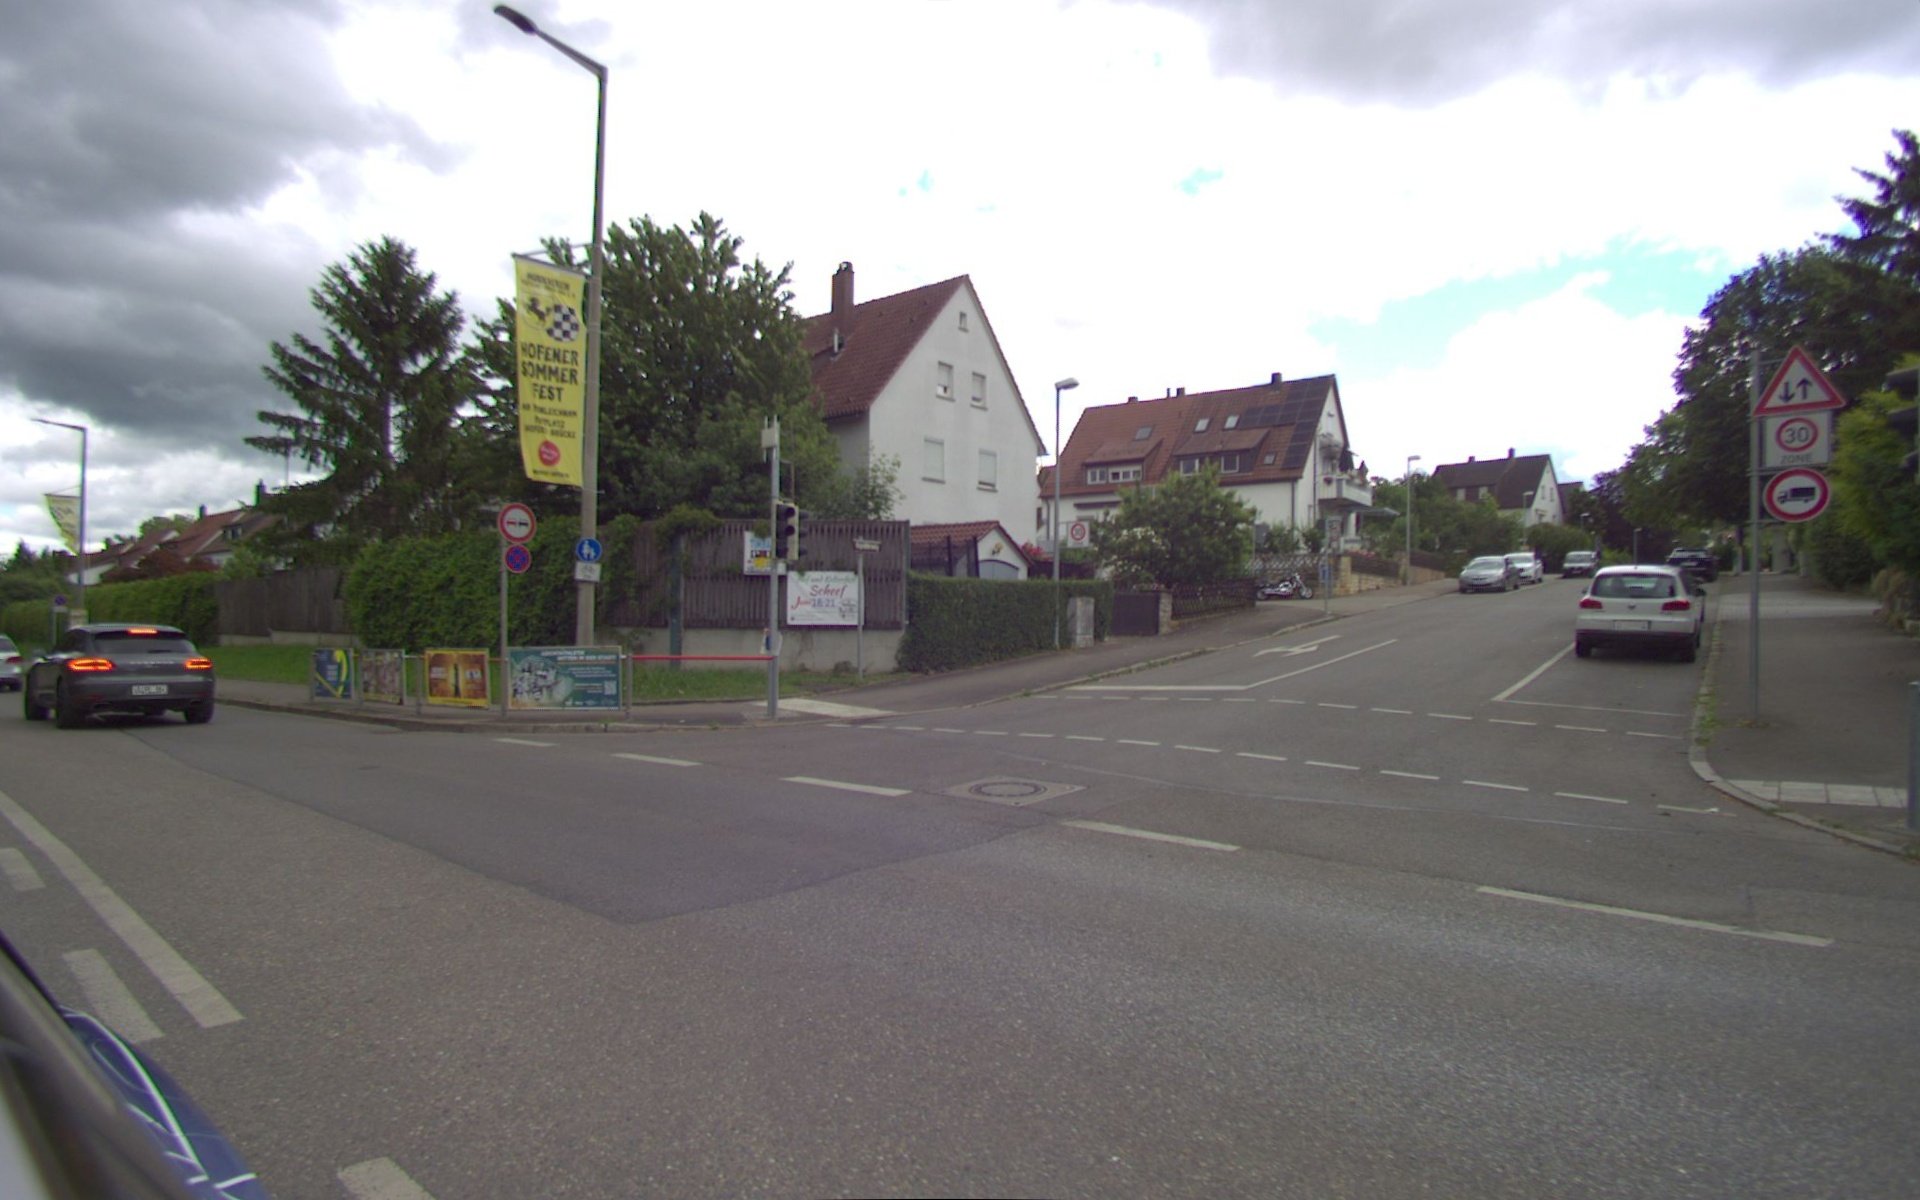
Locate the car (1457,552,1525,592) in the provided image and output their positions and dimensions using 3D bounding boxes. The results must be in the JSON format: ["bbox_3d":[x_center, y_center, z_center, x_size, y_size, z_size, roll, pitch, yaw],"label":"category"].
[{"bbox_3d":[22.321,-1.200,42.490,1.798,1.521,3.949,0,3,39],"label":"car"}]

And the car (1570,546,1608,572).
[{"bbox_3d":[47.538,-3.106,76.459,1.873,1.850,3.948,0,3,39],"label":"car"}]

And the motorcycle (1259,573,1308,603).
[{"bbox_3d":[12.958,-0.476,40.555,1.789,1.116,0.496,-2,0,24],"label":"motorcycle"}]

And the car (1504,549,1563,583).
[{"bbox_3d":[27.874,-1.661,49.136,1.798,1.521,3.948,0,3,39],"label":"car"}]

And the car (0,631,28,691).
[{"bbox_3d":[-26.278,1.598,26.742,4.204,1.522,1.856,-2,-3,40],"label":"car"}]

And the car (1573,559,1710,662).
[{"bbox_3d":[12.883,0.104,19.045,1.914,1.653,3.950,1,3,37],"label":"car"}]

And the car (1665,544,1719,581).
[{"bbox_3d":[33.094,-1.726,45.710,1.839,1.548,3.949,0,3,38],"label":"car"}]

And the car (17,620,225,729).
[{"bbox_3d":[-14.011,1.170,16.817,4.275,1.591,1.880,-2,-3,40],"label":"car"}]

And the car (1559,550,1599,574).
[{"bbox_3d":[42.504,-2.615,69.452,1.798,1.521,3.948,0,3,39],"label":"car"}]
